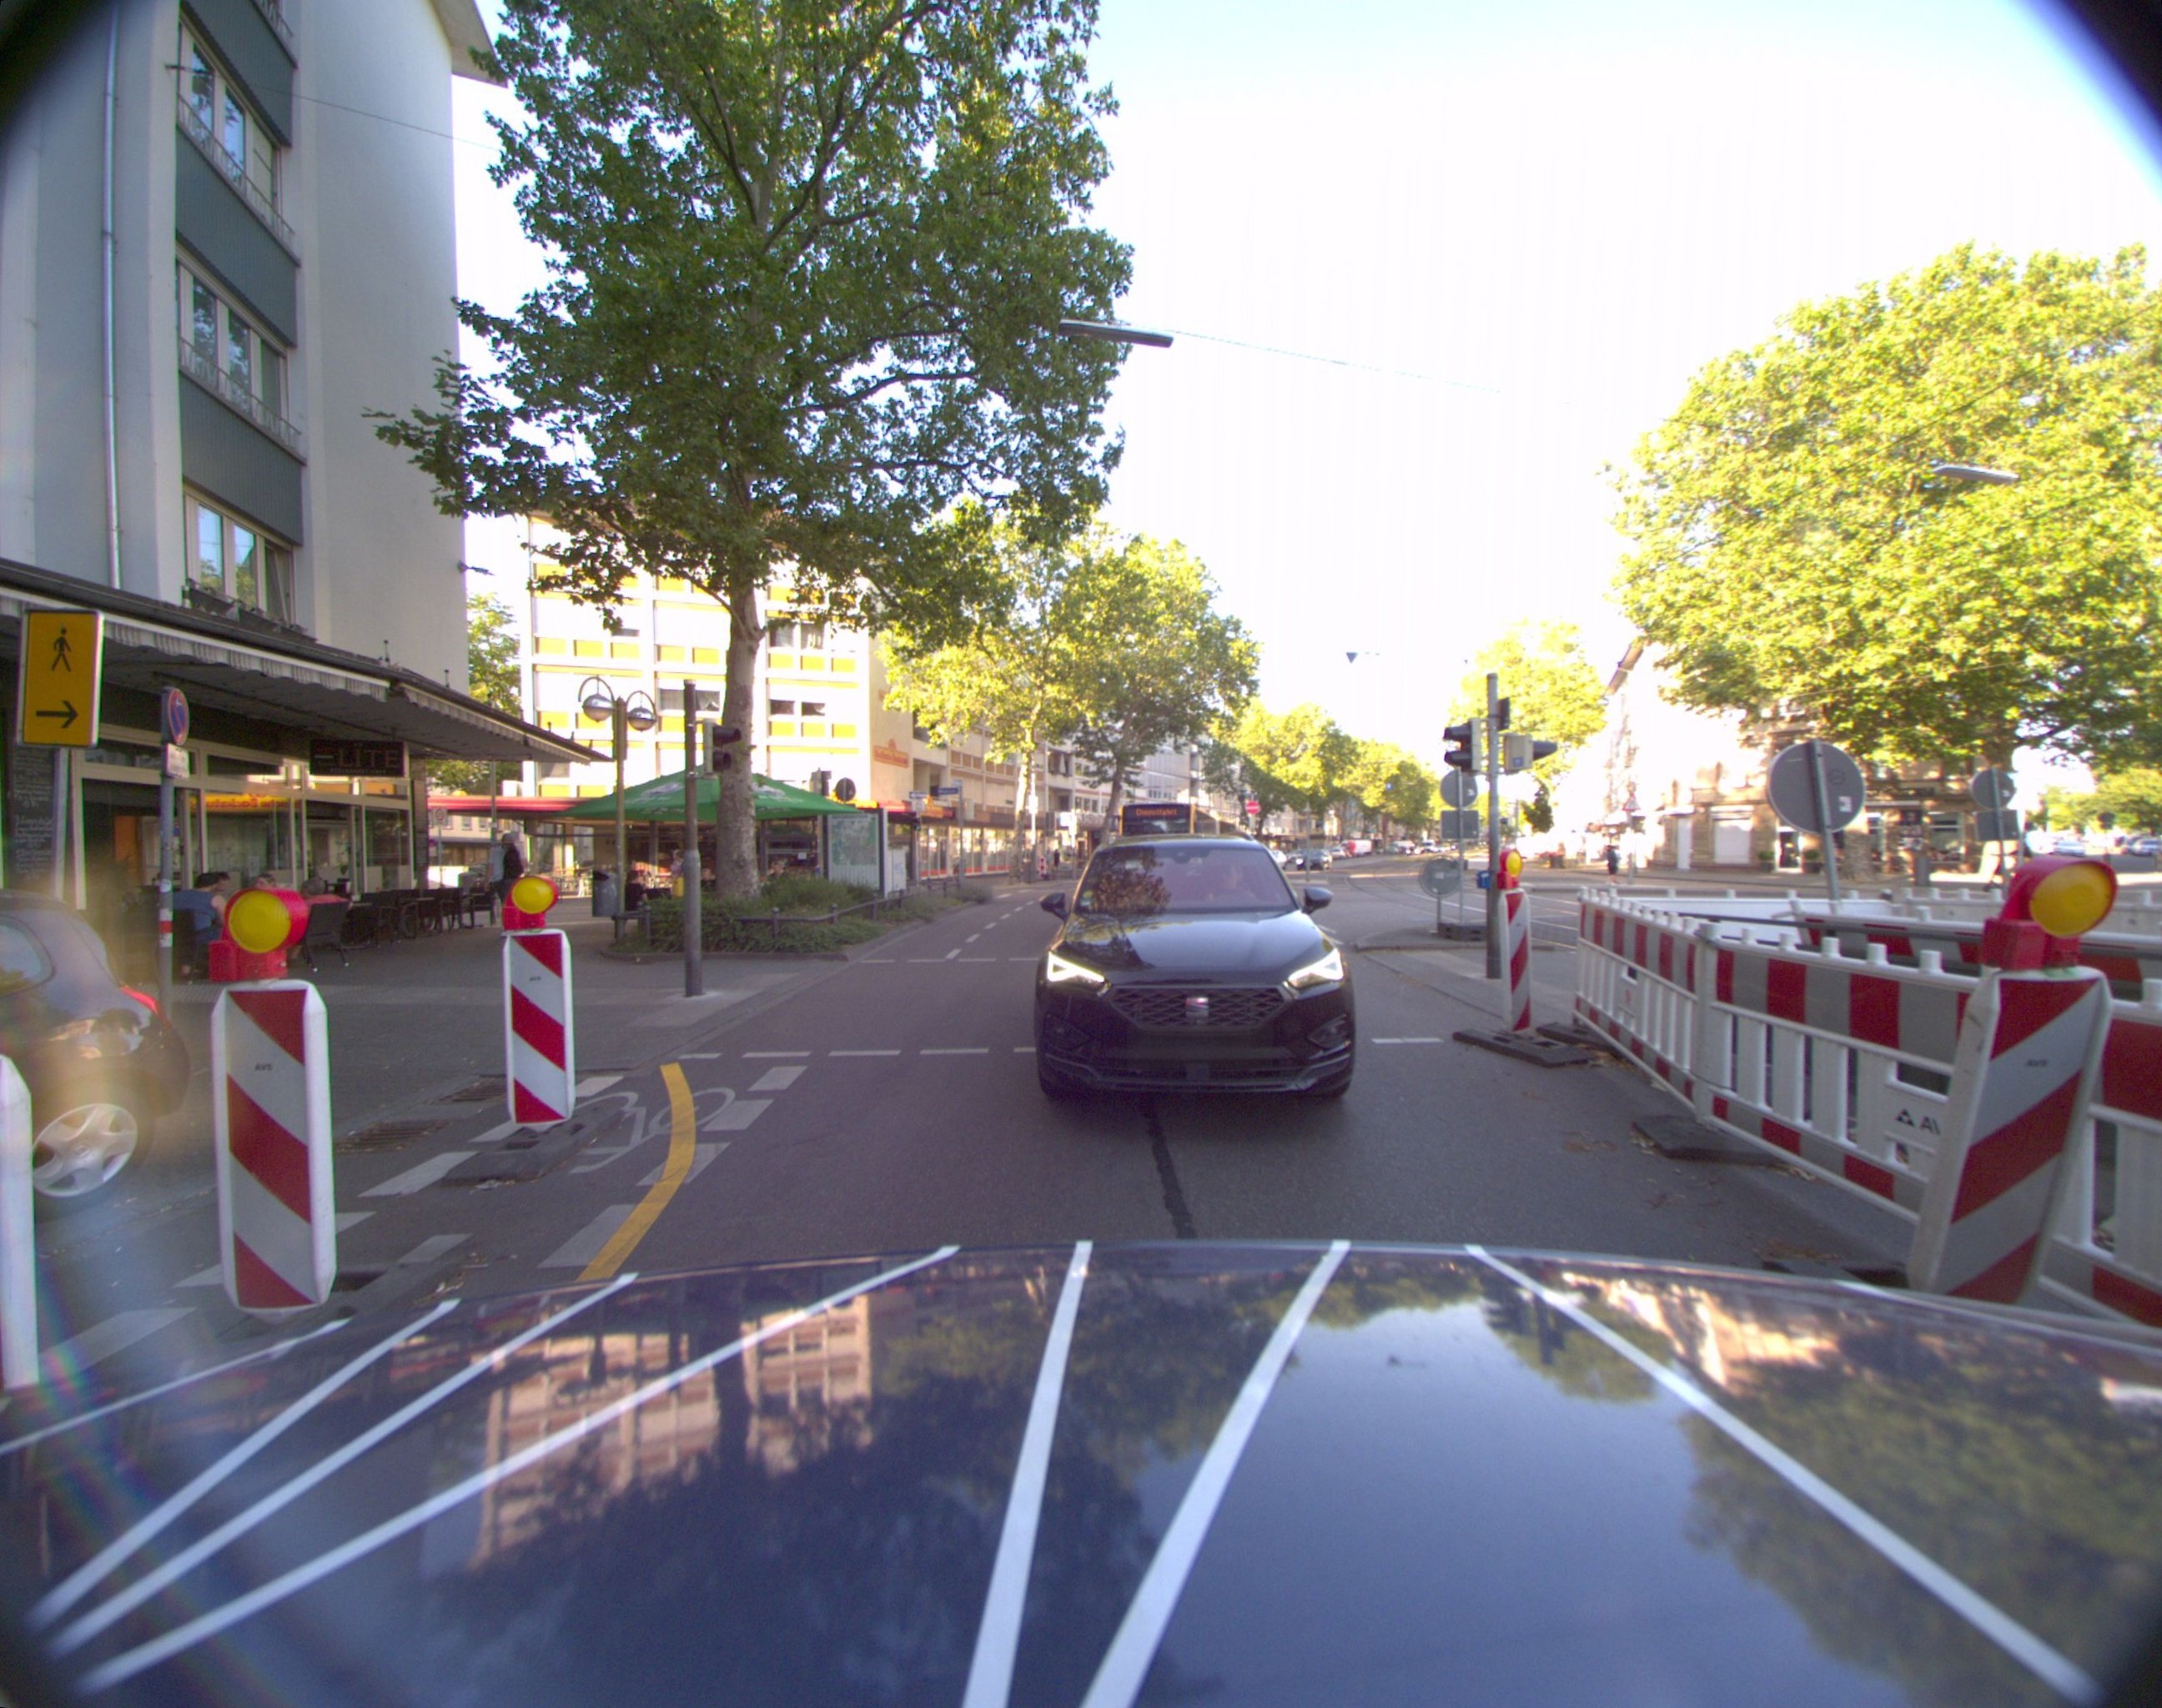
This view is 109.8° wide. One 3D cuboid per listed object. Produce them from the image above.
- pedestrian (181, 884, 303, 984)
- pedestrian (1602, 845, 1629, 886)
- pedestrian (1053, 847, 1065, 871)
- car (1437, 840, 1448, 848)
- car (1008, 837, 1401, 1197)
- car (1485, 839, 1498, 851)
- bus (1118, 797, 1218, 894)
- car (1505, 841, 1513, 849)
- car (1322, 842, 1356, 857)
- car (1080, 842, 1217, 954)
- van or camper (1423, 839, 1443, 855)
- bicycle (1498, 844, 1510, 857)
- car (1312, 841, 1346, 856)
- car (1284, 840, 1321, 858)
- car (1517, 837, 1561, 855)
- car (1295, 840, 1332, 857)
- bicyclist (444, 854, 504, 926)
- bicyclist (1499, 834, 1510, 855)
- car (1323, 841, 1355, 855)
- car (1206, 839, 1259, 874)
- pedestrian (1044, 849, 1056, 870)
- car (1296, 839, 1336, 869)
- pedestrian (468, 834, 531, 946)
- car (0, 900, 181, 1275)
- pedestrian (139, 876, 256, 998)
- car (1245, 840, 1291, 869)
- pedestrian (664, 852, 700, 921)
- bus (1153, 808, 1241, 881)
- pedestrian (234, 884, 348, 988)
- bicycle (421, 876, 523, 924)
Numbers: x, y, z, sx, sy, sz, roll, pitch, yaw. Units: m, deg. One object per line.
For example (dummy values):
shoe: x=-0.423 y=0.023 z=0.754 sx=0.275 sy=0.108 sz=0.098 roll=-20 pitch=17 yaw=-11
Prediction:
pedestrian: x=-10.733 y=0.996 z=9.745 sx=0.647 sy=1.186 sz=0.792 roll=0 pitch=1 yaw=7
pedestrian: x=20.331 y=0.425 z=28.905 sx=0.603 sy=1.524 sz=0.745 roll=0 pitch=1 yaw=12
pedestrian: x=-1.474 y=0.322 z=50.365 sx=0.627 sy=1.577 sz=0.532 roll=0 pitch=1 yaw=20
car: x=73.962 y=-2.048 z=155.528 sx=1.700 sy=1.462 sz=3.771 roll=0 pitch=1 yaw=31
car: x=0.615 y=0.754 z=5.589 sx=1.841 sy=1.696 sz=4.000 roll=-1 pitch=1 yaw=1
car: x=71.669 y=-1.539 z=132.628 sx=1.994 sy=2.002 sz=4.007 roll=0 pitch=1 yaw=29
bus: x=3.528 y=-0.307 z=28.696 sx=2.718 sy=3.088 sz=8.629 roll=0 pitch=1 yaw=13
car: x=102.365 y=-2.157 z=181.893 sx=1.686 sy=1.841 sz=4.007 roll=0 pitch=1 yaw=29
car: x=35.253 y=-0.606 z=103.845 sx=3.994 sy=2.002 sz=2.001 roll=-1 pitch=1 yaw=8
car: x=1.028 y=0.632 z=13.224 sx=1.998 sy=1.634 sz=4.075 roll=-1 pitch=1 yaw=1
van or camper: x=63.928 y=-1.290 z=137.942 sx=2.420 sy=2.702 sz=6.144 roll=0 pitch=1 yaw=32
bicycle: x=41.682 y=-0.341 z=74.872 sx=0.850 sy=1.186 sz=2.470 roll=0 pitch=1 yaw=26
car: x=32.256 y=-0.713 z=98.880 sx=3.994 sy=2.002 sz=2.001 roll=-1 pitch=1 yaw=8
car: x=24.894 y=-0.538 z=85.360 sx=3.991 sy=2.002 sz=2.003 roll=0 pitch=1 yaw=18
car: x=52.485 y=-0.974 z=87.109 sx=4.001 sy=2.002 sz=1.997 roll=-1 pitch=1 yaw=-13
car: x=28.393 y=-0.721 z=92.834 sx=3.994 sy=2.002 sz=2.001 roll=-1 pitch=1 yaw=8
bicyclist: x=-15.729 y=0.913 z=19.714 sx=0.926 sy=1.816 sz=0.753 roll=-1 pitch=1 yaw=-11
bicyclist: x=41.692 y=-0.934 z=74.832 sx=0.854 sy=2.002 sz=0.985 roll=0 pitch=1 yaw=25
car: x=36.534 y=-0.880 z=107.841 sx=3.994 sy=2.002 sz=2.001 roll=-1 pitch=1 yaw=8
car: x=9.270 y=0.130 z=46.318 sx=1.995 sy=2.002 sz=4.105 roll=0 pitch=1 yaw=29
pedestrian: x=-2.090 y=0.360 z=50.606 sx=0.627 sy=1.429 sz=0.532 roll=0 pitch=1 yaw=20
car: x=16.605 y=-0.028 z=53.480 sx=1.995 sy=2.002 sz=4.007 roll=0 pitch=1 yaw=27
pedestrian: x=-10.425 y=0.616 z=13.654 sx=0.649 sy=1.948 sz=0.888 roll=-1 pitch=1 yaw=-22
car: x=-5.235 y=0.967 z=1.872 sx=1.771 sy=1.459 sz=3.610 roll=2 pitch=1 yaw=-2
pedestrian: x=-10.237 y=0.925 z=8.811 sx=0.789 sy=1.299 sz=0.701 roll=0 pitch=1 yaw=28
car: x=13.625 y=0.000 z=55.253 sx=1.994 sy=2.002 sz=4.008 roll=0 pitch=1 yaw=33
pedestrian: x=-9.589 y=0.769 z=18.288 sx=0.629 sy=1.628 sz=0.531 roll=-1 pitch=1 yaw=-15
bus: x=5.843 y=-0.452 z=36.999 sx=2.717 sy=3.088 sz=8.608 roll=0 pitch=1 yaw=19
pedestrian: x=-9.909 y=0.997 z=9.542 sx=0.877 sy=1.186 sz=0.701 roll=0 pitch=1 yaw=24
bicycle: x=-15.745 y=1.179 z=19.706 sx=1.887 sy=1.123 sz=0.751 roll=-2 pitch=1 yaw=-13
